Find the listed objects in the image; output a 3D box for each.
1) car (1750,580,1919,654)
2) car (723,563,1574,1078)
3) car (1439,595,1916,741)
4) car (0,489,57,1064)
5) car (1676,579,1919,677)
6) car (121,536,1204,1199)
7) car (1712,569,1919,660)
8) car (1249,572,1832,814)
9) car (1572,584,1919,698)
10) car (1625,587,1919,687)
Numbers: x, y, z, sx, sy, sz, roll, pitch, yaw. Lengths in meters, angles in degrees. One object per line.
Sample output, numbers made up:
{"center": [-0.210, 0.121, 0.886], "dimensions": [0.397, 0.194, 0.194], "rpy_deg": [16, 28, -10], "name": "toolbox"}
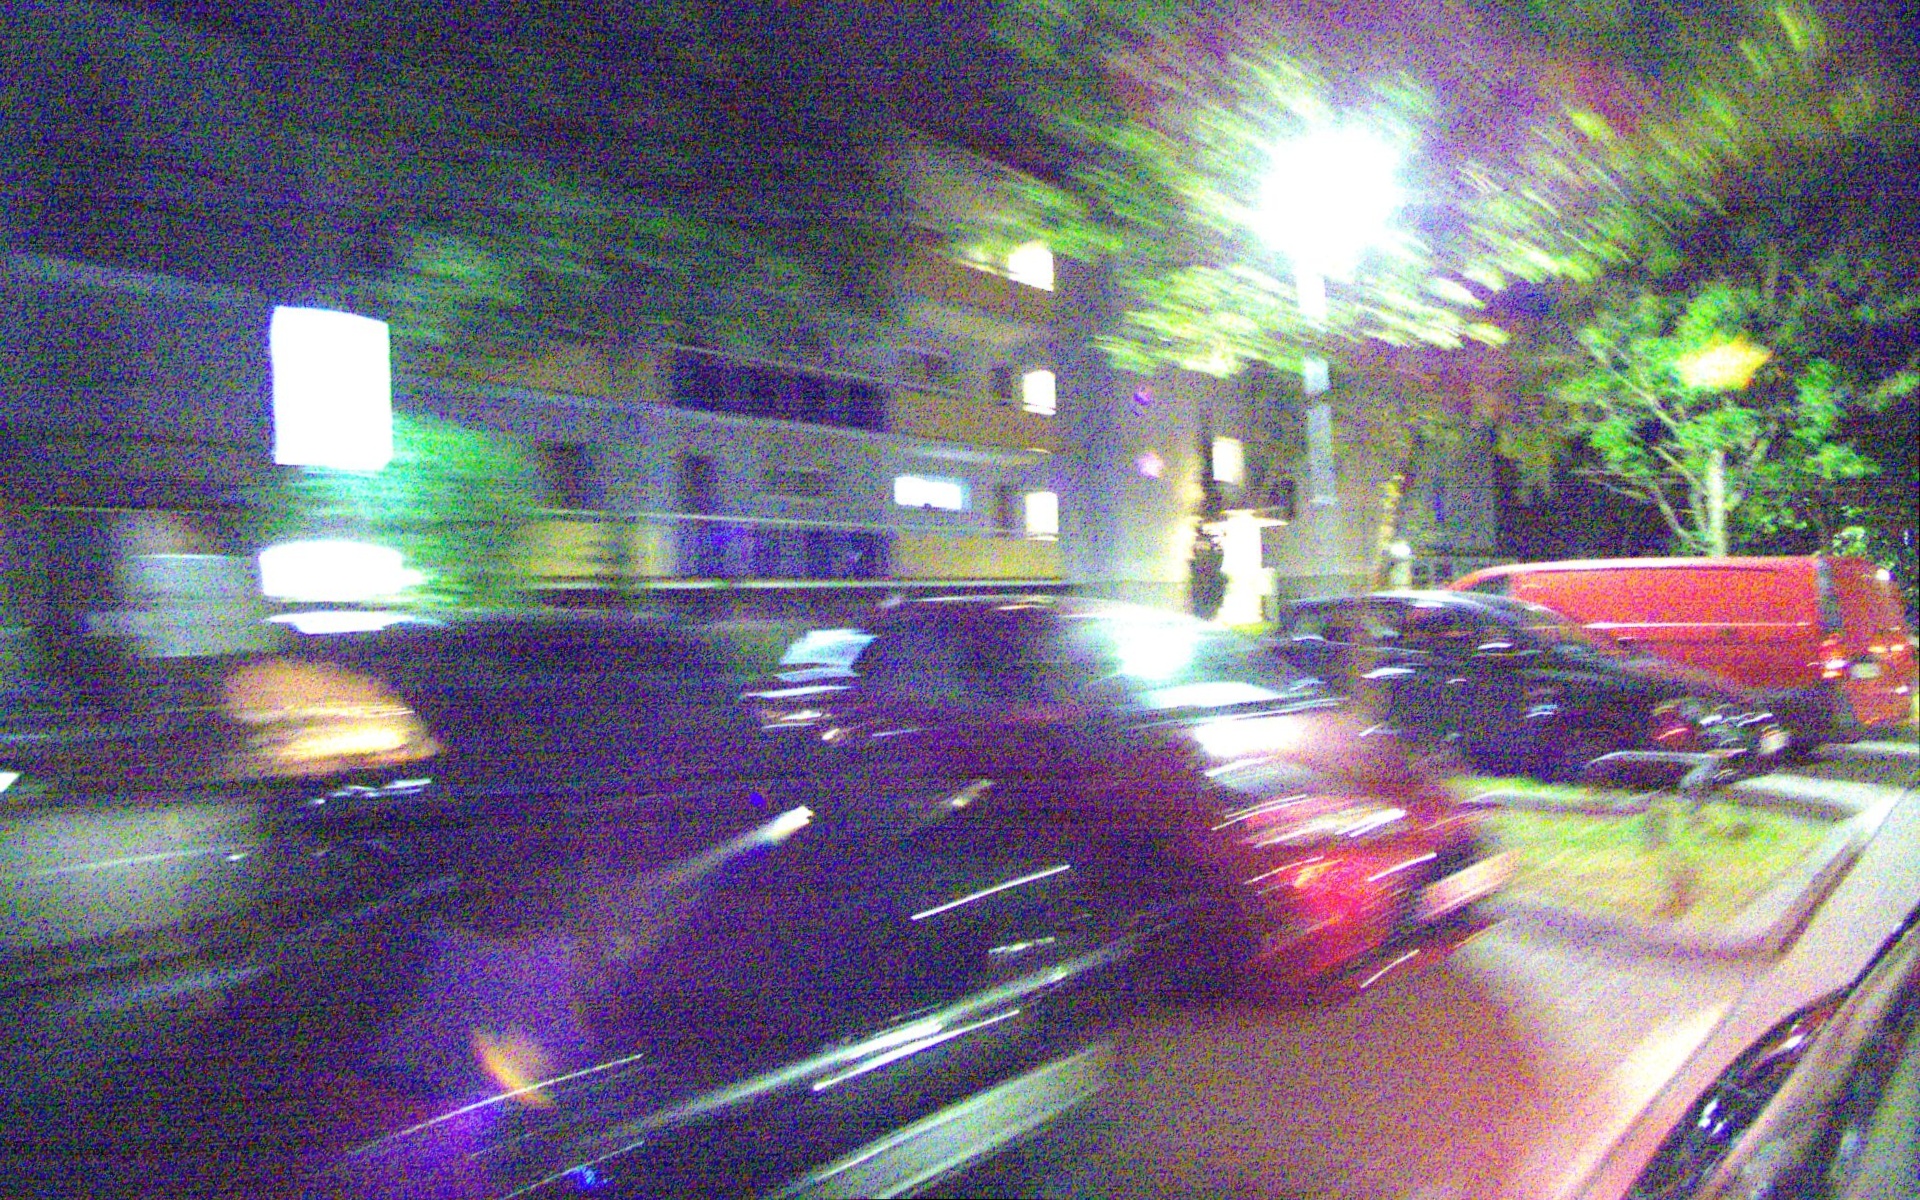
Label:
{"center": [24.507, 0.431, 26.942], "dimensions": [2.221, 1.868, 5.150], "rpy_deg": [0, 0, -41], "name": "car"}
{"center": [0.591, 0.640, 5.096], "dimensions": [1.823, 1.533, 3.921], "rpy_deg": [-1, 1, -42], "name": "car"}
{"center": [8.483, 0.673, 12.324], "dimensions": [1.900, 1.438, 4.407], "rpy_deg": [0, 0, -39], "name": "car"}
{"center": [-3.272, 0.568, 1.800], "dimensions": [1.993, 1.839, 4.368], "rpy_deg": [0, 0, -35], "name": "car"}
{"center": [16.847, 0.516, 19.728], "dimensions": [1.961, 1.719, 4.291], "rpy_deg": [0, -1, -33], "name": "car"}
{"center": [-1.391, 0.689, 3.325], "dimensions": [1.824, 1.533, 3.918], "rpy_deg": [0, 0, -44], "name": "car"}
{"center": [22.248, 0.341, 25.333], "dimensions": [2.221, 2.123, 5.150], "rpy_deg": [0, 0, -41], "name": "car"}
{"center": [4.732, 0.604, 8.748], "dimensions": [1.950, 1.571, 3.927], "rpy_deg": [0, 0, -37], "name": "car"}
{"center": [12.794, 0.597, 16.234], "dimensions": [2.068, 1.577, 4.665], "rpy_deg": [0, -1, -38], "name": "car"}
{"center": [14.578, 0.619, 18.195], "dimensions": [1.965, 1.577, 3.994], "rpy_deg": [0, -1, -40], "name": "car"}
